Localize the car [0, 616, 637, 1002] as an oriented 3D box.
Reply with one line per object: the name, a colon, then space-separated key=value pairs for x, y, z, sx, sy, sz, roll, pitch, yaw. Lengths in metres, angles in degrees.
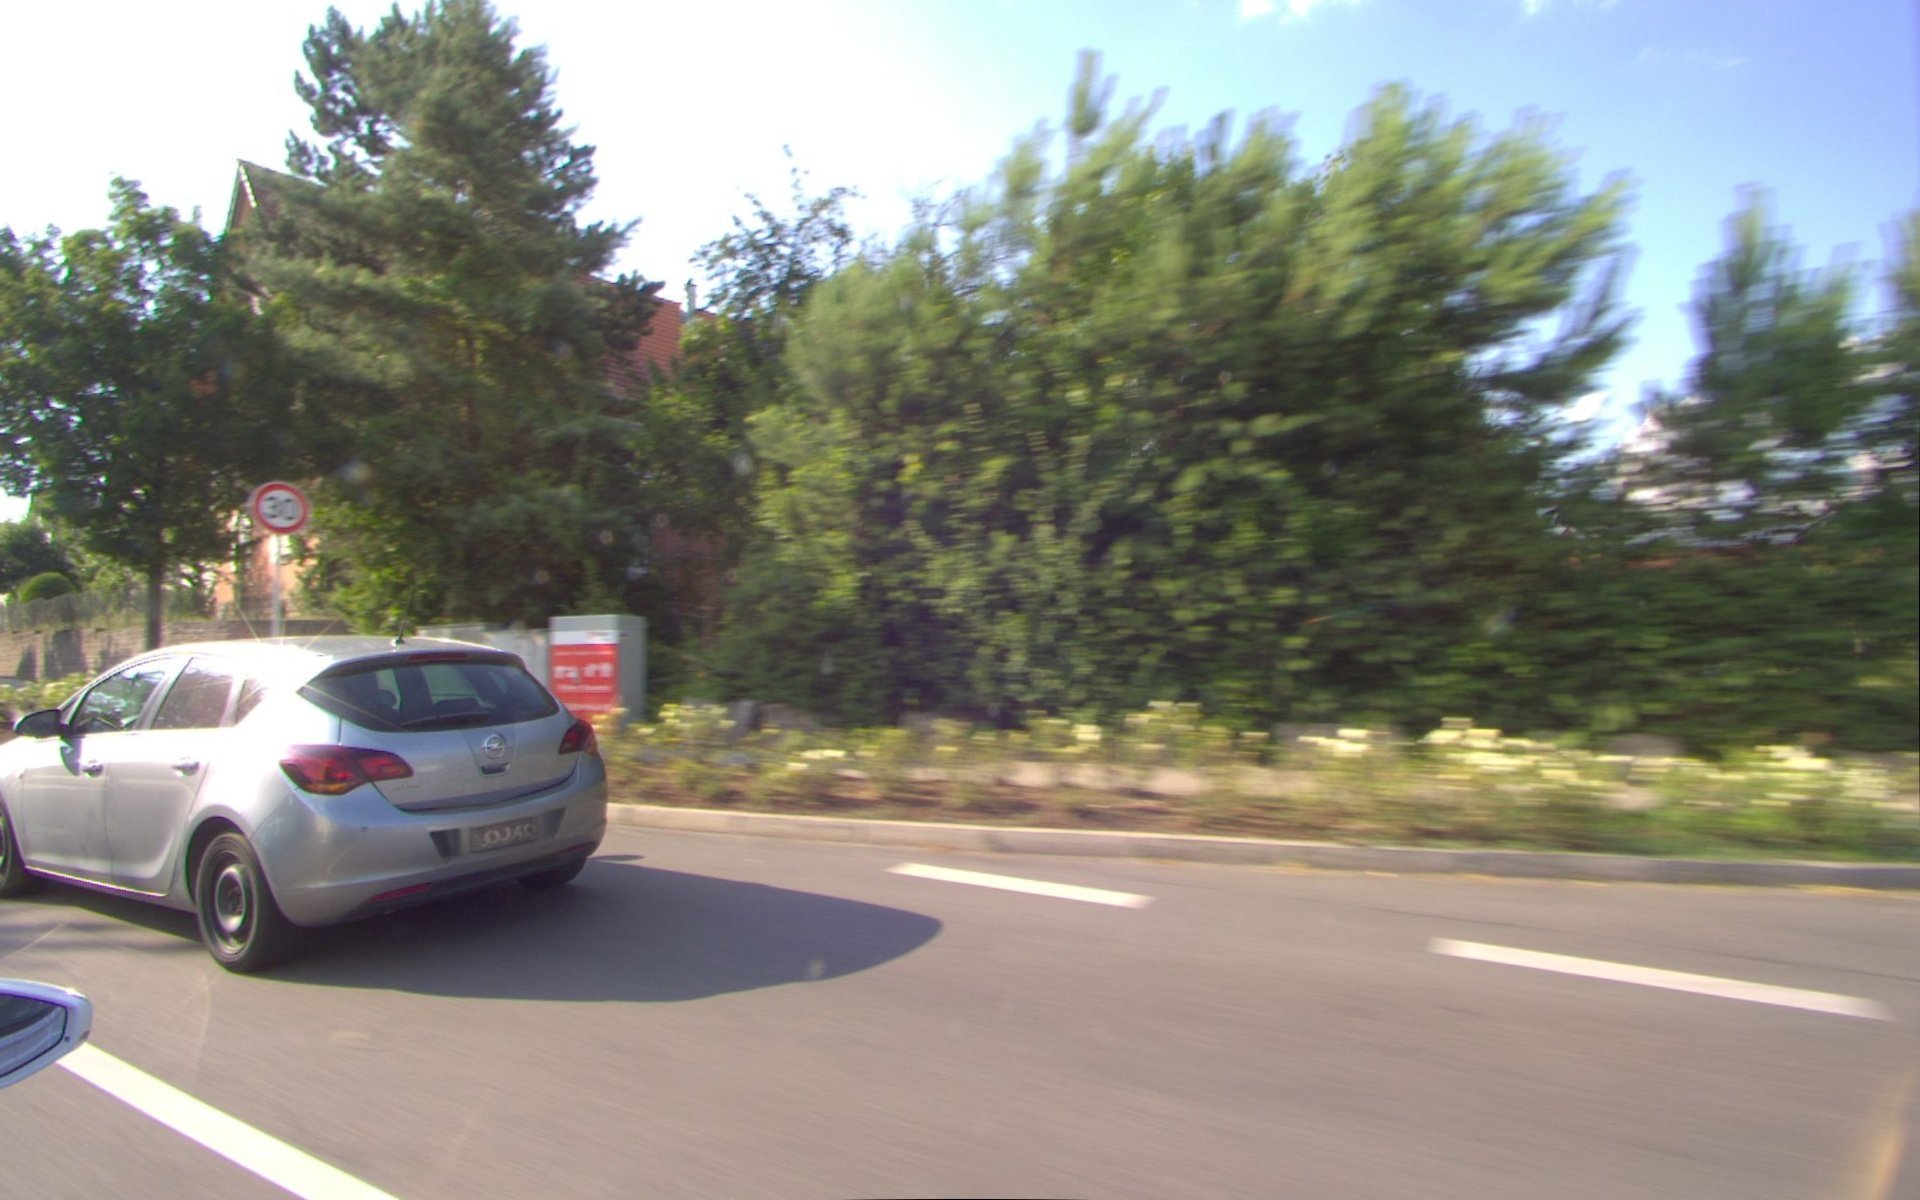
car: x=-4.001 y=0.868 z=5.747 sx=4.242 sy=1.509 sz=1.719 roll=-1 pitch=-1 yaw=30
